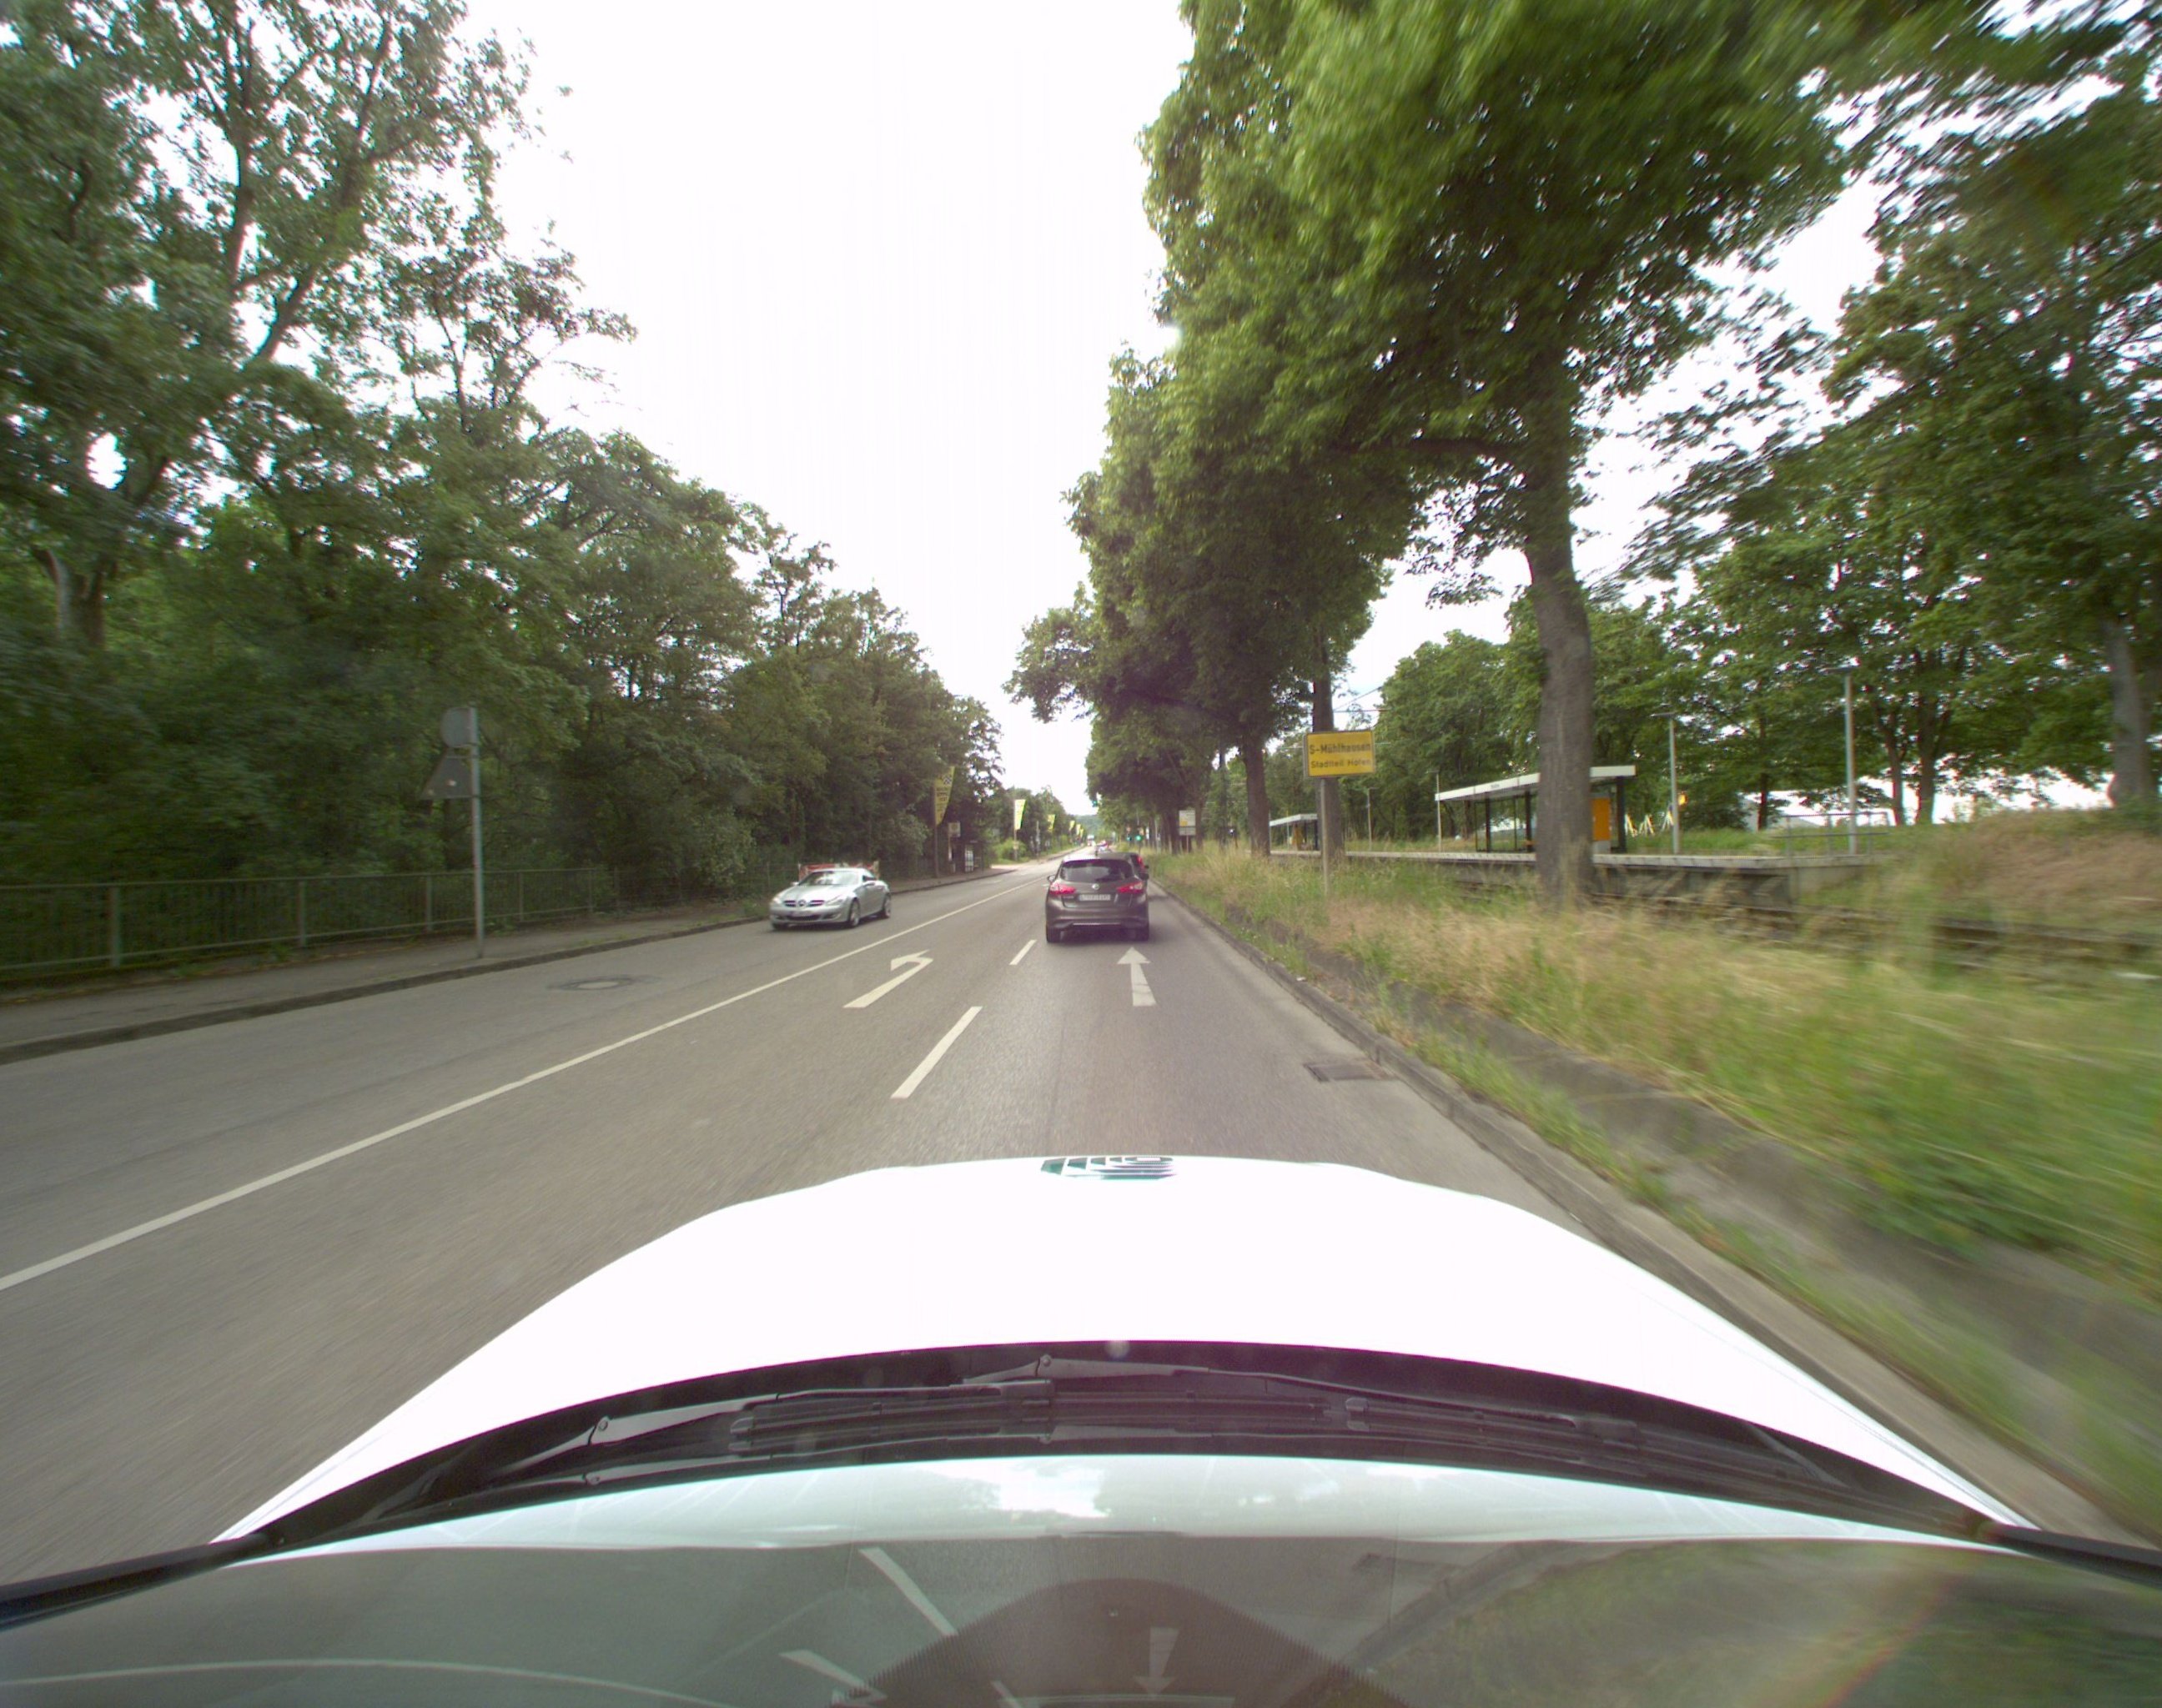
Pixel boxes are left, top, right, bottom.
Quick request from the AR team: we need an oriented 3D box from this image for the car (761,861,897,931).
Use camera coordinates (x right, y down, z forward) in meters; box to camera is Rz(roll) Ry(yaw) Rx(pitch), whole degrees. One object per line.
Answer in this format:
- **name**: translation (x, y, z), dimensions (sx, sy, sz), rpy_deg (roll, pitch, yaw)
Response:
- **car**: translation (-5.553, 0.879, 18.414), dimensions (1.751, 1.337, 3.698), rpy_deg (-2, 0, 2)

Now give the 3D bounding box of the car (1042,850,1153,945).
- **car**: translation (0.340, 0.703, 15.113), dimensions (1.776, 1.507, 3.698), rpy_deg (-2, 0, 2)

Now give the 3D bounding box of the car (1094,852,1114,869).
- **car**: translation (2.094, 0.532, 73.681), dimensions (1.685, 1.441, 3.543), rpy_deg (-1, 0, 2)

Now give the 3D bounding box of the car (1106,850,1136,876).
- **car**: translation (2.336, 0.505, 48.555), dimensions (1.685, 1.441, 3.543), rpy_deg (-1, 0, 2)

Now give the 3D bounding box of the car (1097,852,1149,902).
- **car**: translation (1.313, 0.671, 26.117), dimensions (1.496, 1.441, 3.543), rpy_deg (-1, 0, 2)

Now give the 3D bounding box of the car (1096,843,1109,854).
- **car**: translation (3.370, -0.857, 129.144), dimensions (1.986, 1.574, 4.002), rpy_deg (0, 0, 2)
